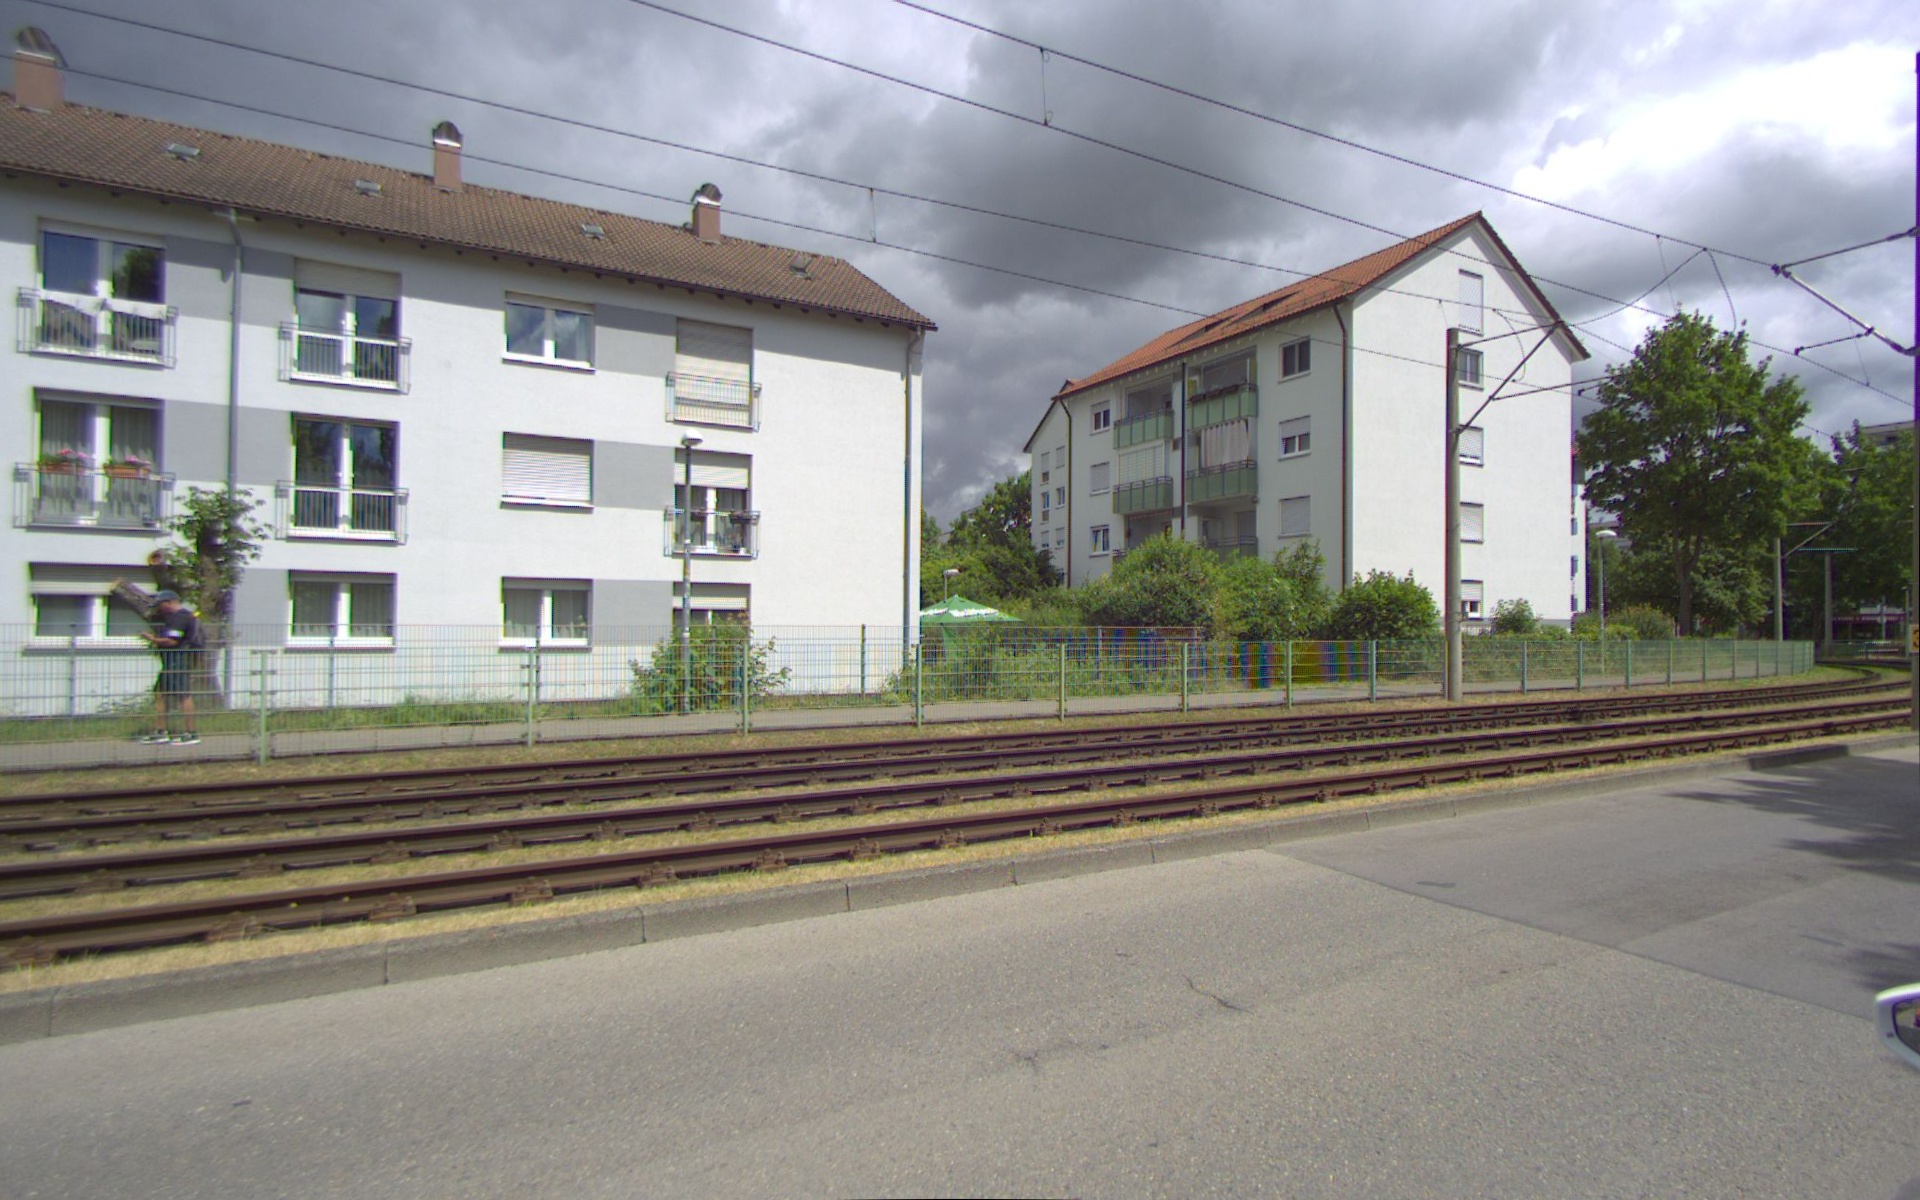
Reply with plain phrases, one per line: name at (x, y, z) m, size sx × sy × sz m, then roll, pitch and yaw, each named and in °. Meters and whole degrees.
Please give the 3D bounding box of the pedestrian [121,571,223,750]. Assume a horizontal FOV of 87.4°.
pedestrian at (-8.584, 0.648, 10.978) m, size 0.759 × 1.873 × 0.656 m, roll 1°, pitch -2°, yaw -30°
